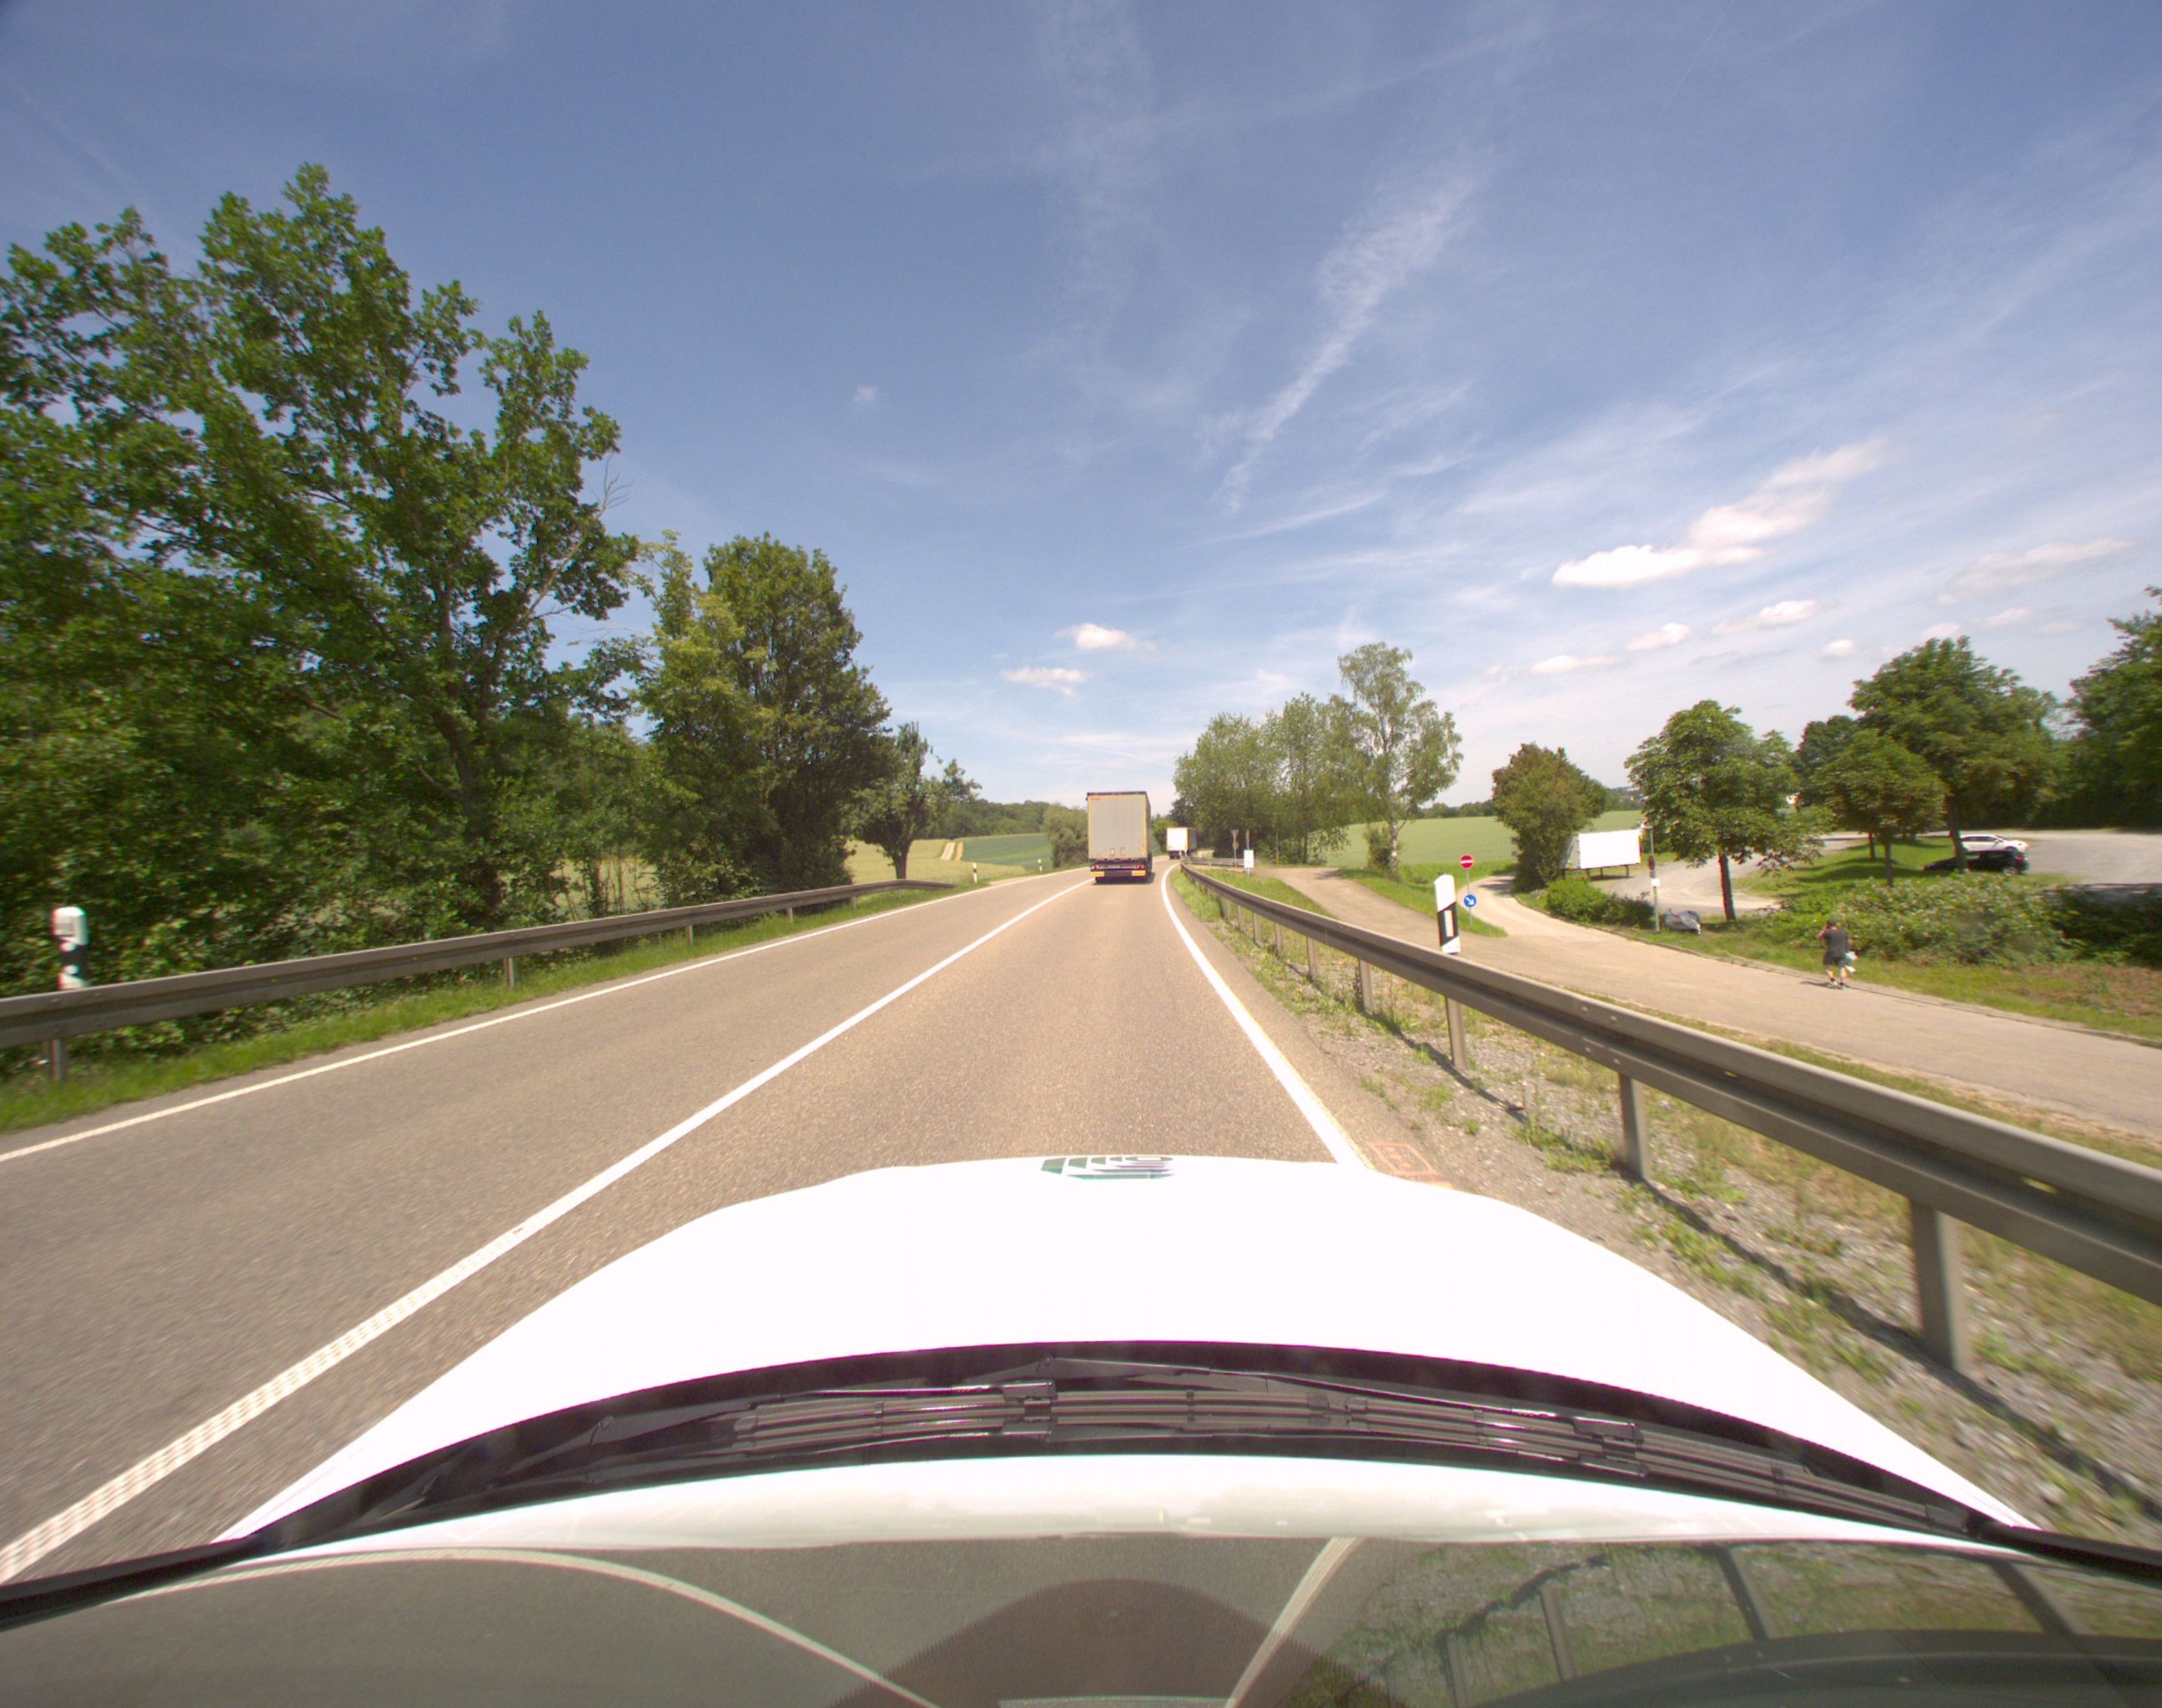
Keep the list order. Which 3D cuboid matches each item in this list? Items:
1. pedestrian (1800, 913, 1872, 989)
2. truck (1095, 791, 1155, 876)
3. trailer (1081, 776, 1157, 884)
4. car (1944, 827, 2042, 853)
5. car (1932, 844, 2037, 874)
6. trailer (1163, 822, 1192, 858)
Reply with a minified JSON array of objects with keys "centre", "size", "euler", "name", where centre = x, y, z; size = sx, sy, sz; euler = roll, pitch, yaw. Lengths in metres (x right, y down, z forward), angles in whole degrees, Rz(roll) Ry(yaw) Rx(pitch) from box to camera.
[{"centre":[19.744,2.515,21.324],"size":[0.881,1.811,0.960],"euler":[-4,0,1],"name":"pedestrian"},{"centre":[2.656,-1.097,47.152],"size":[3.103,4.494,6.821],"euler":[-1,0,5],"name":"truck"},{"centre":[2.171,-1.070,41.412],"size":[3.104,4.499,13.904],"euler":[-1,0,5],"name":"trailer"},{"centre":[65.473,-0.961,58.534],"size":[2.006,1.658,4.304],"euler":[-4,1,-29],"name":"car"},{"centre":[50.916,0.289,45.961],"size":[1.700,1.491,3.660],"euler":[-4,1,-30],"name":"car"},{"centre":[12.927,-1.660,108.012],"size":[3.346,4.317,13.896],"euler":[-2,-1,8],"name":"trailer"}]
